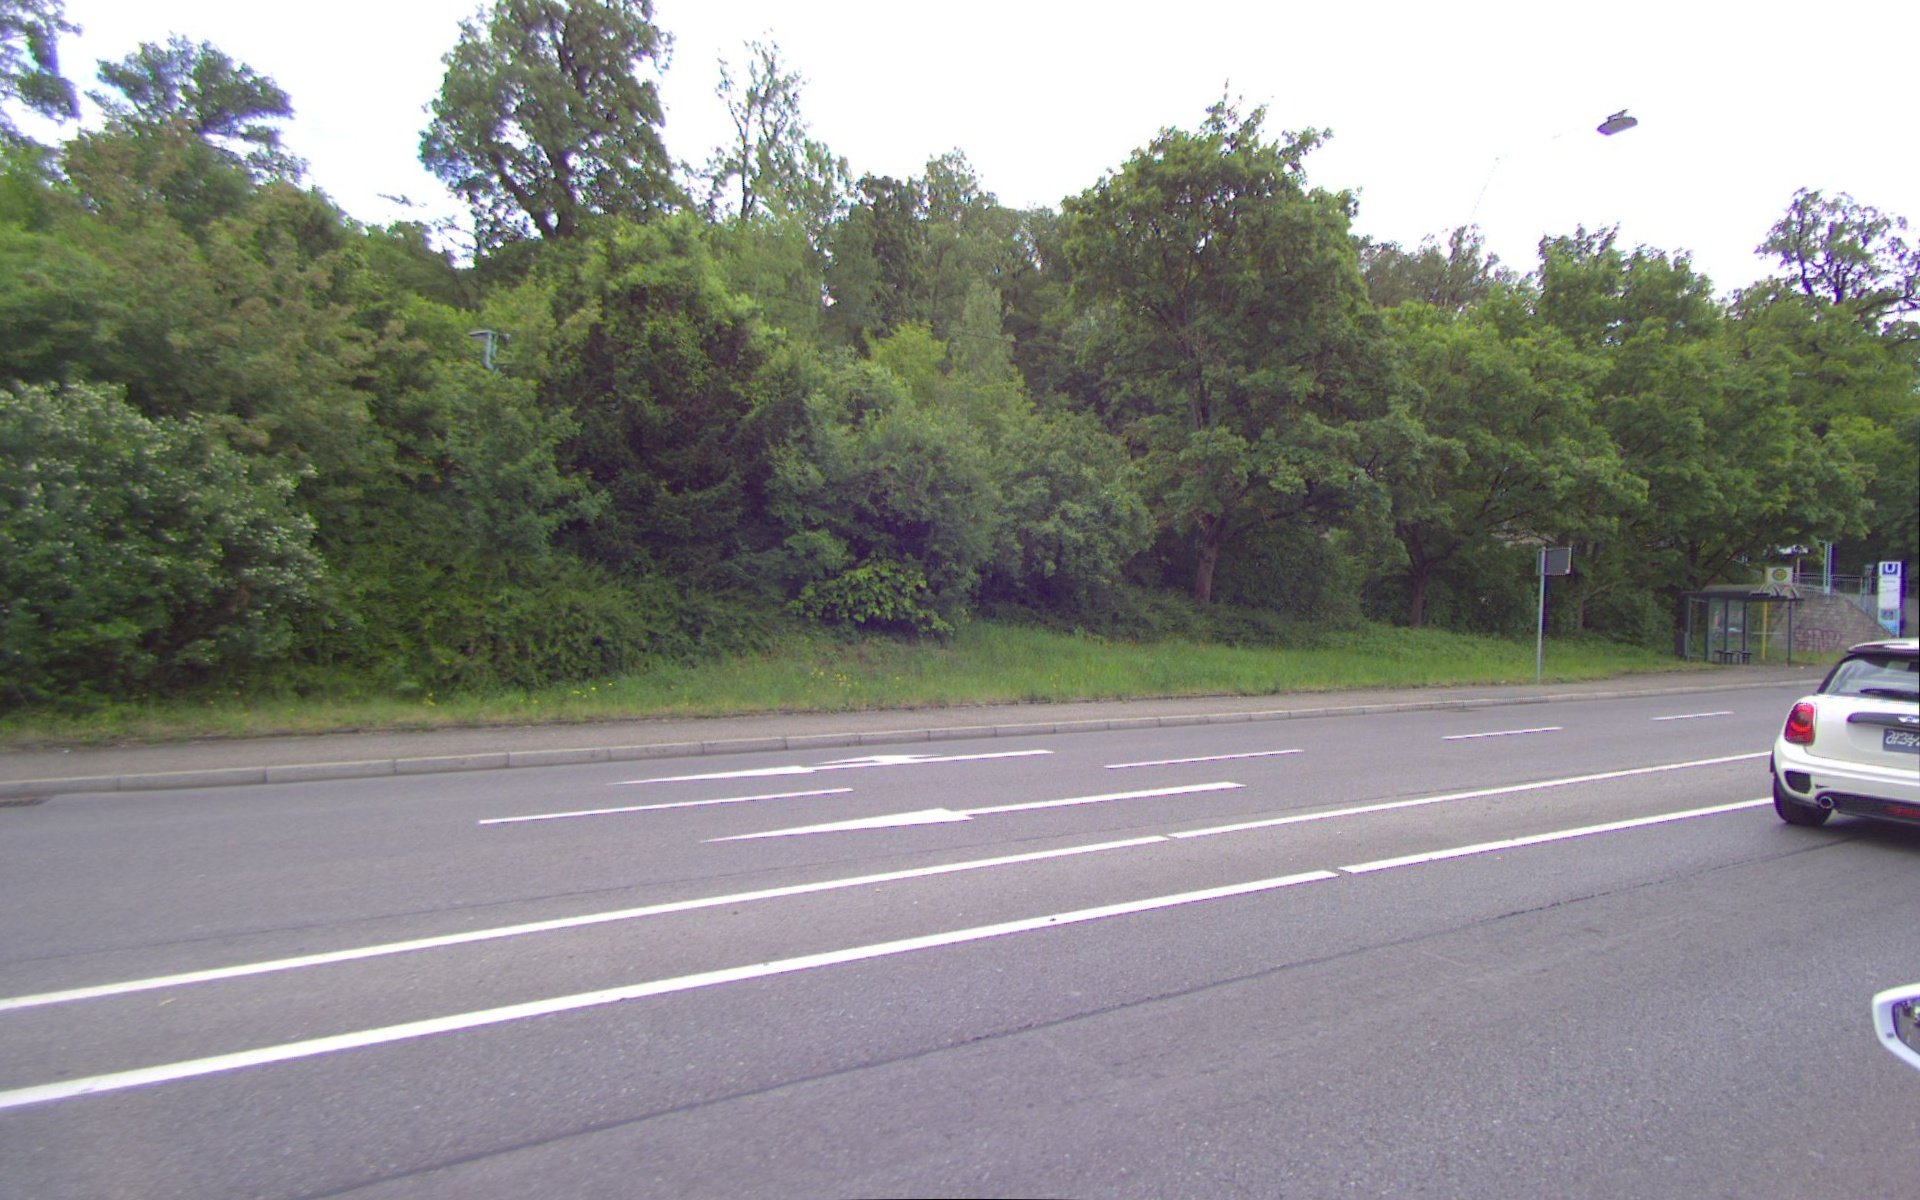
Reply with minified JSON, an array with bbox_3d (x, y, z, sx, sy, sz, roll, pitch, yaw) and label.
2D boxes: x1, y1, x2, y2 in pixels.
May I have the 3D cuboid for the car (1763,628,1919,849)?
[{"bbox_3d":[7.675,0.934,7.401,3.524,1.412,1.620,1,-1,-31],"label":"car"}]
